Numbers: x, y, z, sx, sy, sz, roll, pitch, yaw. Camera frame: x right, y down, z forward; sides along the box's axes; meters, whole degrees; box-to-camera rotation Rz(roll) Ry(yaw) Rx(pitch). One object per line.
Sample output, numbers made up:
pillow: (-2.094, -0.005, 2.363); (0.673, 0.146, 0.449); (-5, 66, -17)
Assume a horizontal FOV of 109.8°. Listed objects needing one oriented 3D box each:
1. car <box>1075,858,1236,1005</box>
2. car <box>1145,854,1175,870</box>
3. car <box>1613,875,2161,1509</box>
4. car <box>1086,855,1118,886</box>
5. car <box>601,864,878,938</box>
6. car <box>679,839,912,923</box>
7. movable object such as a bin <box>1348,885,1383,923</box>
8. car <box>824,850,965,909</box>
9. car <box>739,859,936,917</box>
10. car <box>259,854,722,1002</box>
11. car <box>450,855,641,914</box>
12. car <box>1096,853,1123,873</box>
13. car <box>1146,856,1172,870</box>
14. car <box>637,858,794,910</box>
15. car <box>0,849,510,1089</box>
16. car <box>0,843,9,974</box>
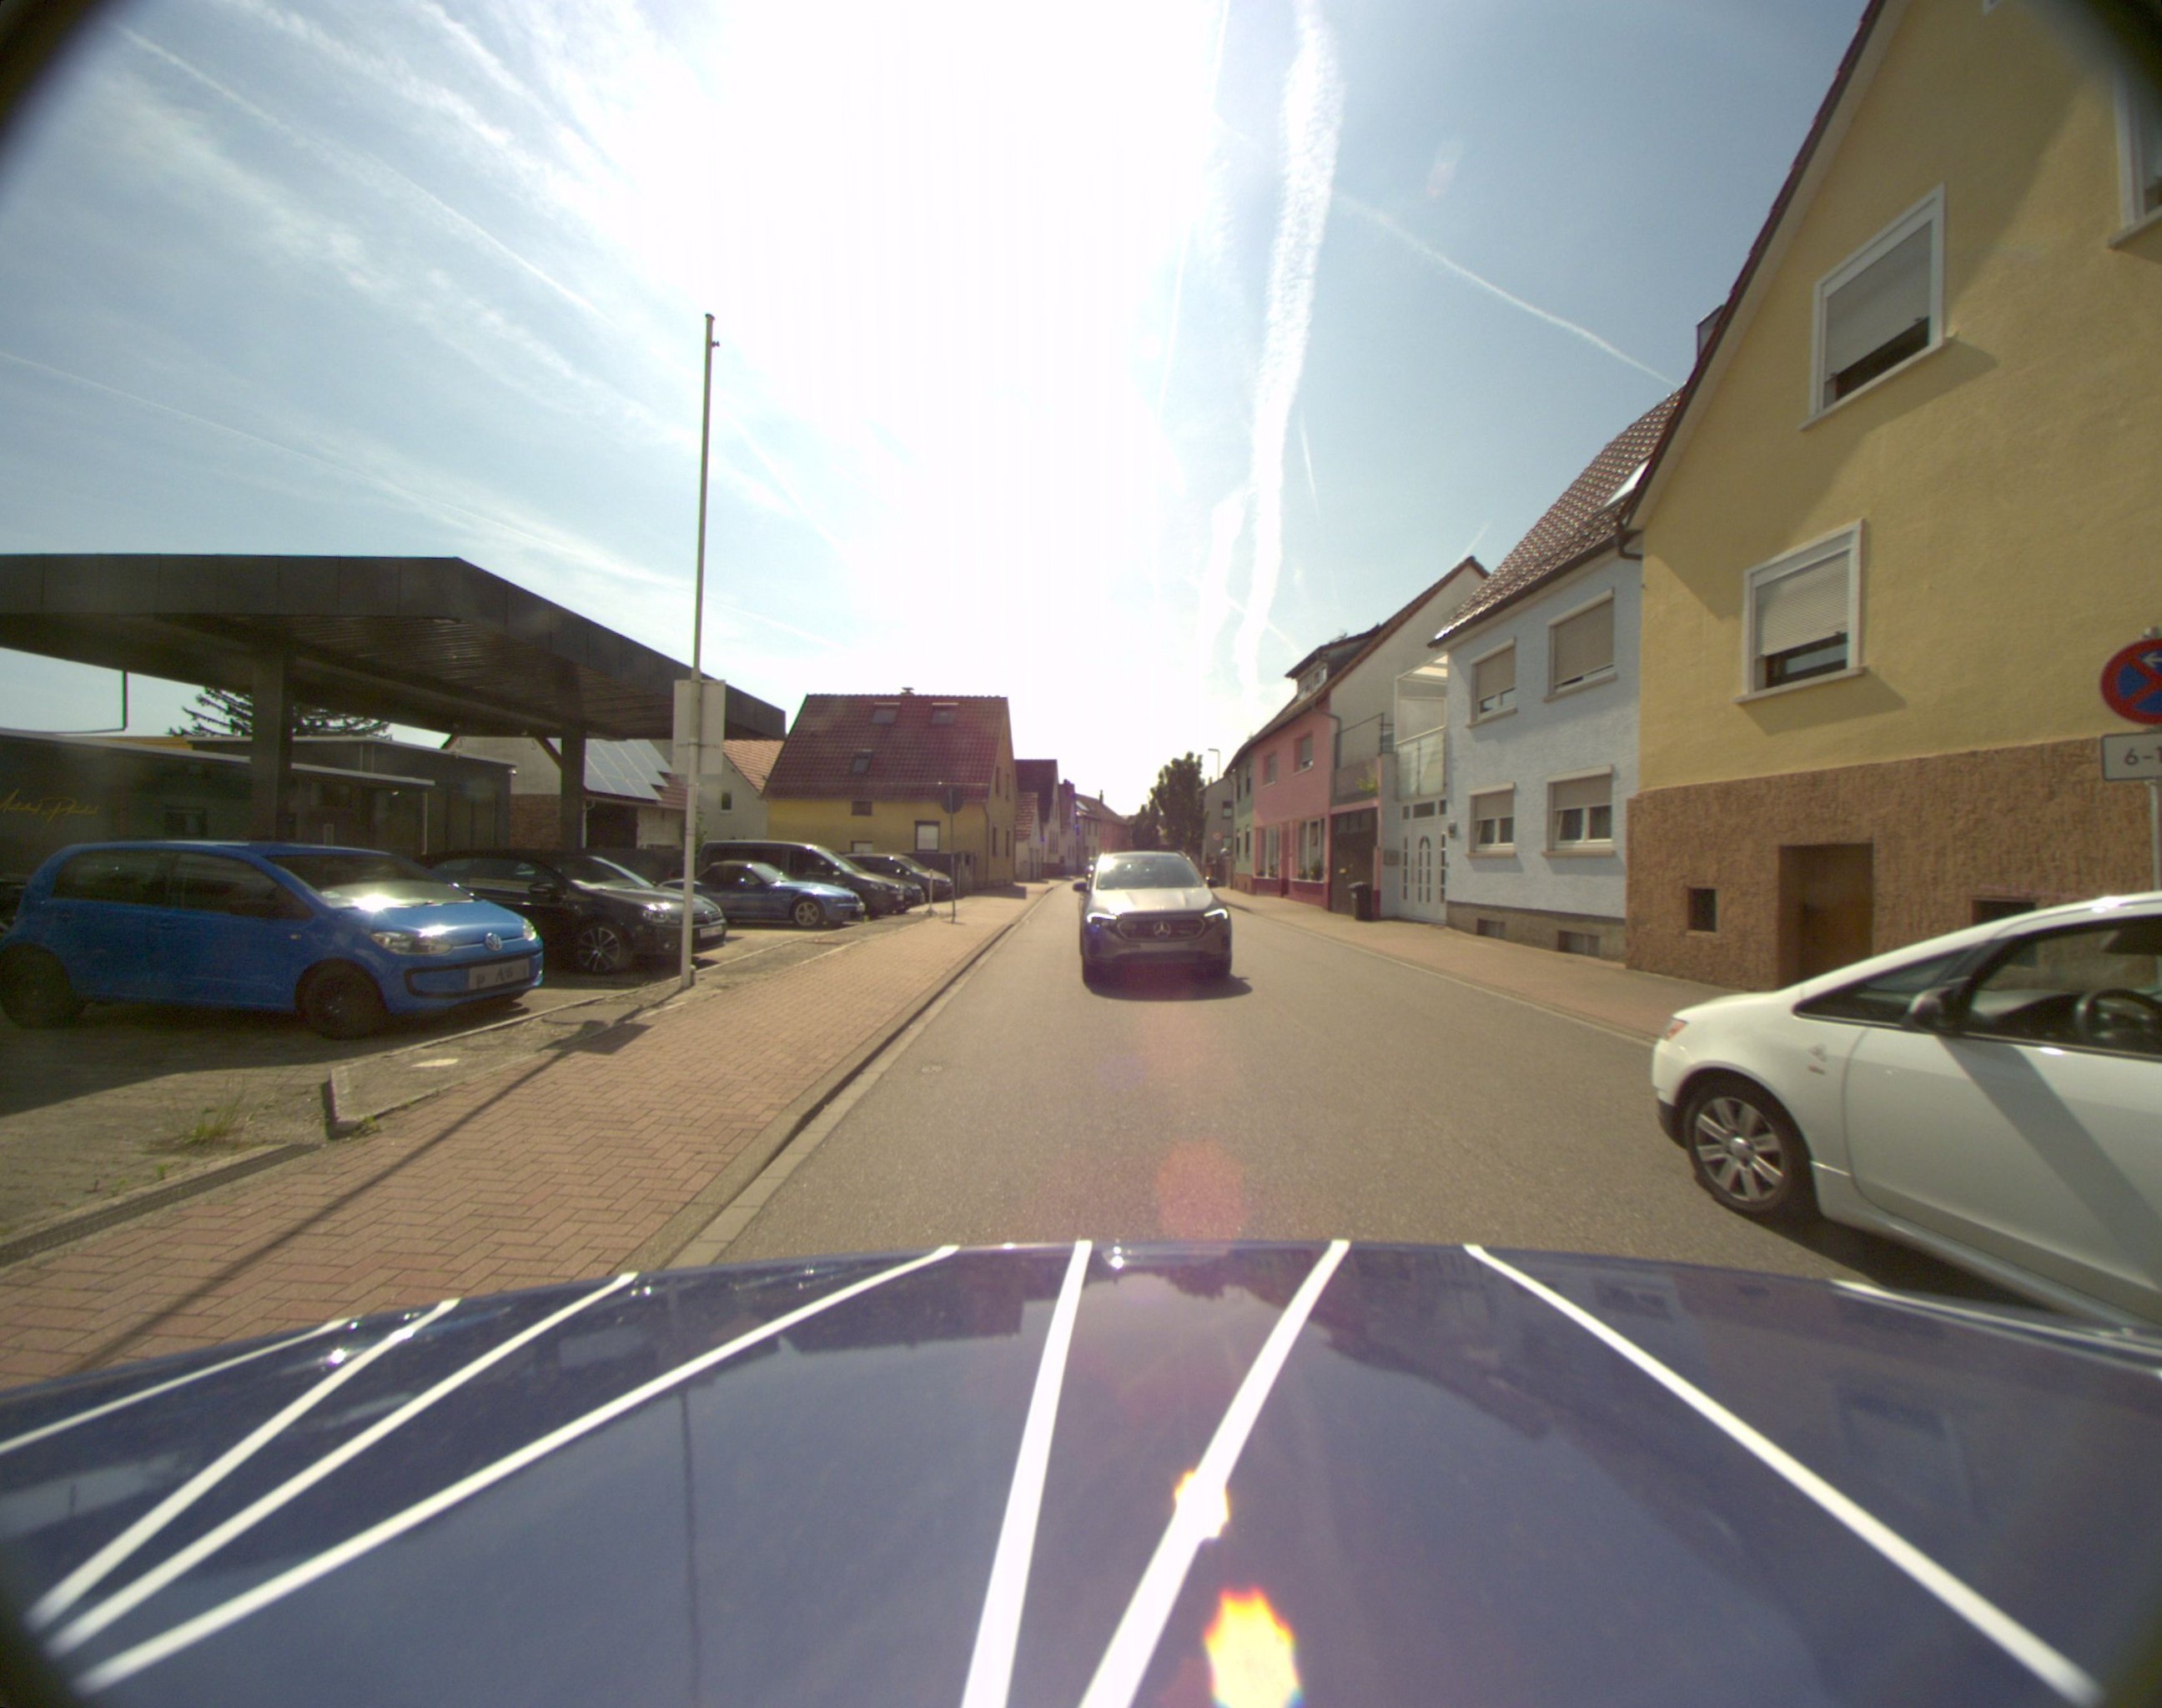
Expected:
car: (0.882, 0.874, 10.579); (1.737, 1.564, 4.290); (-2, 0, 1)
car: (9.716, 0.960, 93.170); (1.944, 1.841, 4.517); (-1, 1, 30)
car: (3.577, 0.882, 1.920); (1.733, 1.533, 3.812); (1, 0, -1)
car: (1.254, 0.939, 45.775); (1.792, 1.643, 4.392); (0, 2, 1)
car: (-6.545, 0.867, 14.878); (4.548, 1.260, 1.966); (1, 0, 4)
car: (-6.481, 0.576, 17.615); (4.645, 1.799, 1.966); (0, 1, 4)
movable object such as a bin: (6.973, 1.215, 18.651); (0.631, 0.875, 0.599); (-2, 1, 2)
car: (-6.419, 0.850, 26.393); (4.336, 1.736, 1.738); (-3, 2, 8)
car: (-6.460, 0.878, 20.460); (4.645, 1.489, 1.911); (0, 0, 4)
car: (-6.674, 0.768, 8.867); (4.169, 1.472, 1.728); (1, 0, 4)
car: (-13.795, 0.708, 20.000); (1.763, 1.339, 4.748); (1, 0, -2)
car: (2.500, 0.759, 66.043); (1.805, 1.617, 4.126); (-2, 1, 9)
car: (8.794, 1.045, 85.508); (1.515, 1.401, 3.596); (-1, 1, 31)
car: (-12.474, 0.974, 26.017); (4.547, 1.499, 1.989); (2, 1, 11)
car: (-6.848, 0.746, 5.827); (3.808, 1.519, 1.582); (1, 0, 3)
car: (-13.535, 0.617, 7.118); (1.722, 1.516, 3.879); (-1, -1, 41)
